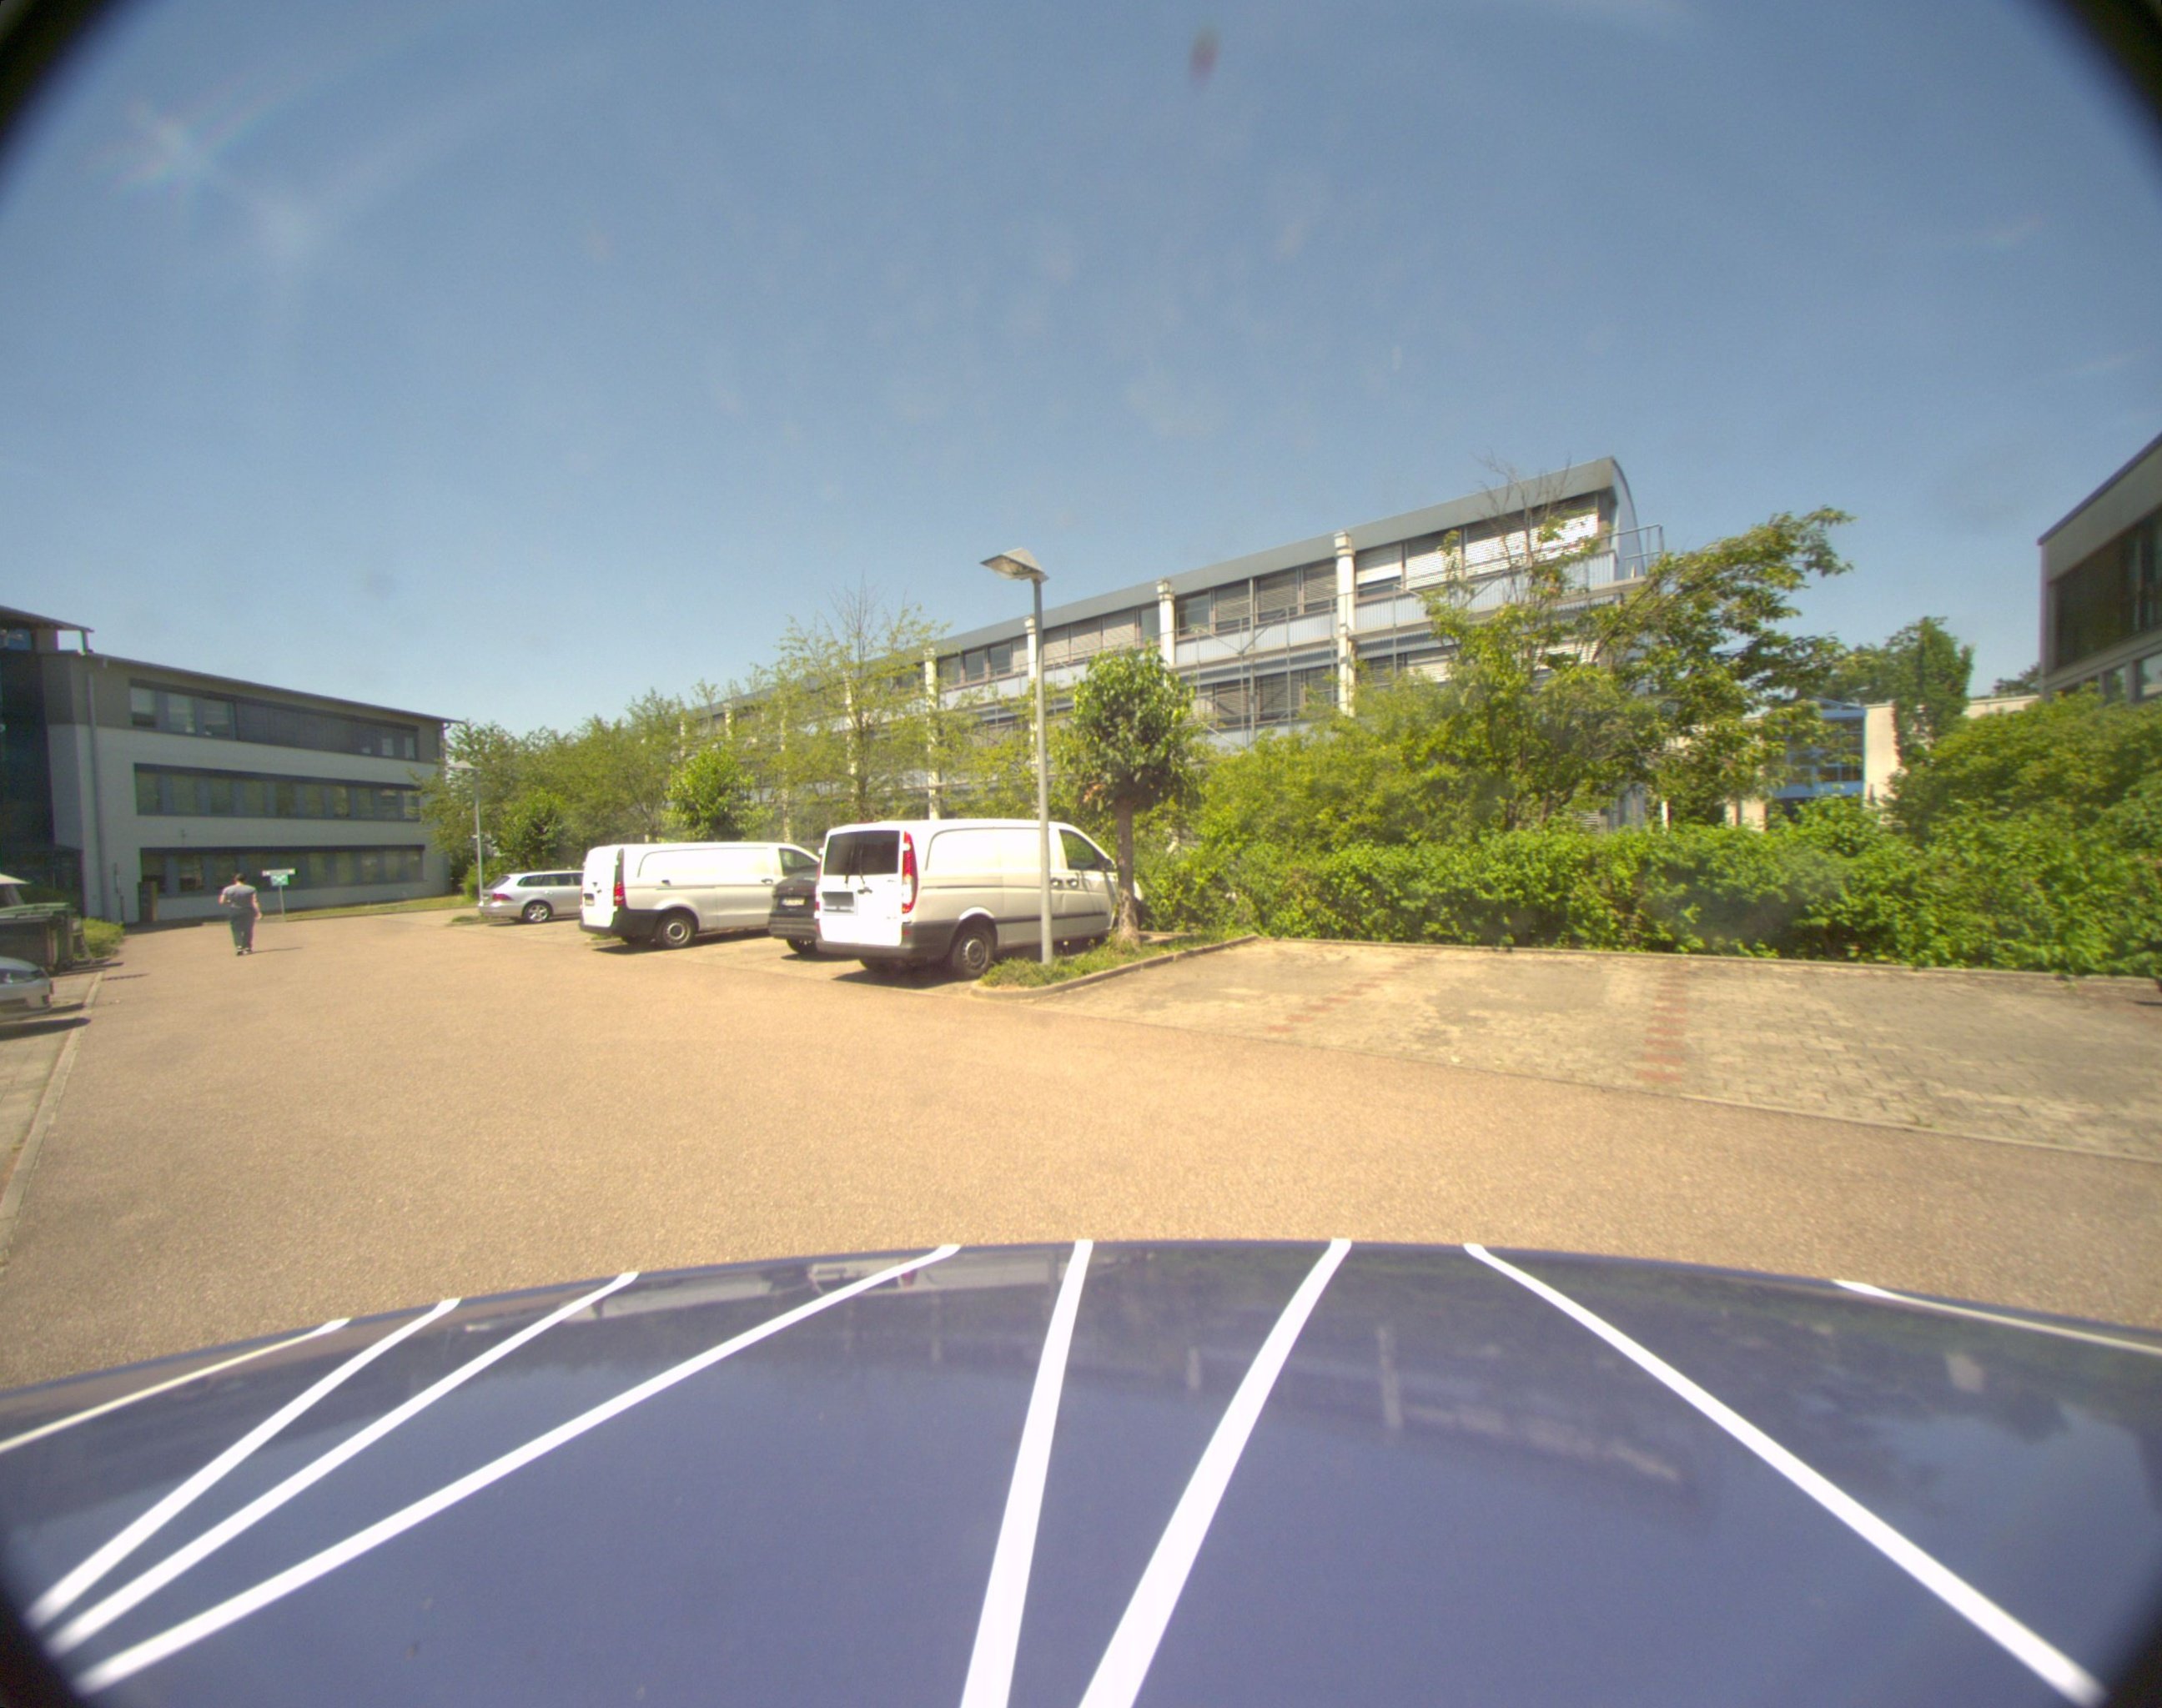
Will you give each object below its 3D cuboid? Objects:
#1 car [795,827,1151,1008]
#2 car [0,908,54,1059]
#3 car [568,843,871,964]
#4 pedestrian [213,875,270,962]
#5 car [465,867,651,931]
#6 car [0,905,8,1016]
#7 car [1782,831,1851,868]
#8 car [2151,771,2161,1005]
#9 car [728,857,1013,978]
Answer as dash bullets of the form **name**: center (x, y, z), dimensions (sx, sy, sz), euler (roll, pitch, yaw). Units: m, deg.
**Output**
- **car**: center (-1.157, 0.610, 10.236), dimensions (1.863, 1.849, 4.686), euler (-2, 1, 38)
- **car**: center (-13.114, 1.429, 6.876), dimensions (1.851, 1.511, 4.436), euler (-2, 0, 39)
- **car**: center (-6.800, 0.809, 14.841), dimensions (1.851, 1.845, 4.944), euler (-2, 1, 41)
- **pedestrian**: center (-17.841, 1.335, 16.151), dimensions (0.774, 1.747, 0.700), euler (0, 3, 42)
- **car**: center (-15.109, 1.230, 22.106), dimensions (1.735, 1.475, 4.093), euler (-2, 1, 41)
- **car**: center (-16.287, 1.505, 8.617), dimensions (1.851, 1.485, 4.622), euler (-2, 0, 39)
- **car**: center (35.436, -0.222, 36.708), dimensions (1.832, 1.558, 4.007), euler (-1, 2, 36)
- **car**: center (8.015, 0.315, 3.858), dimensions (1.863, 1.849, 4.237), euler (-2, 1, 38)
- **car**: center (-3.230, 0.887, 12.406), dimensions (1.735, 1.475, 4.206), euler (-2, 1, 38)
